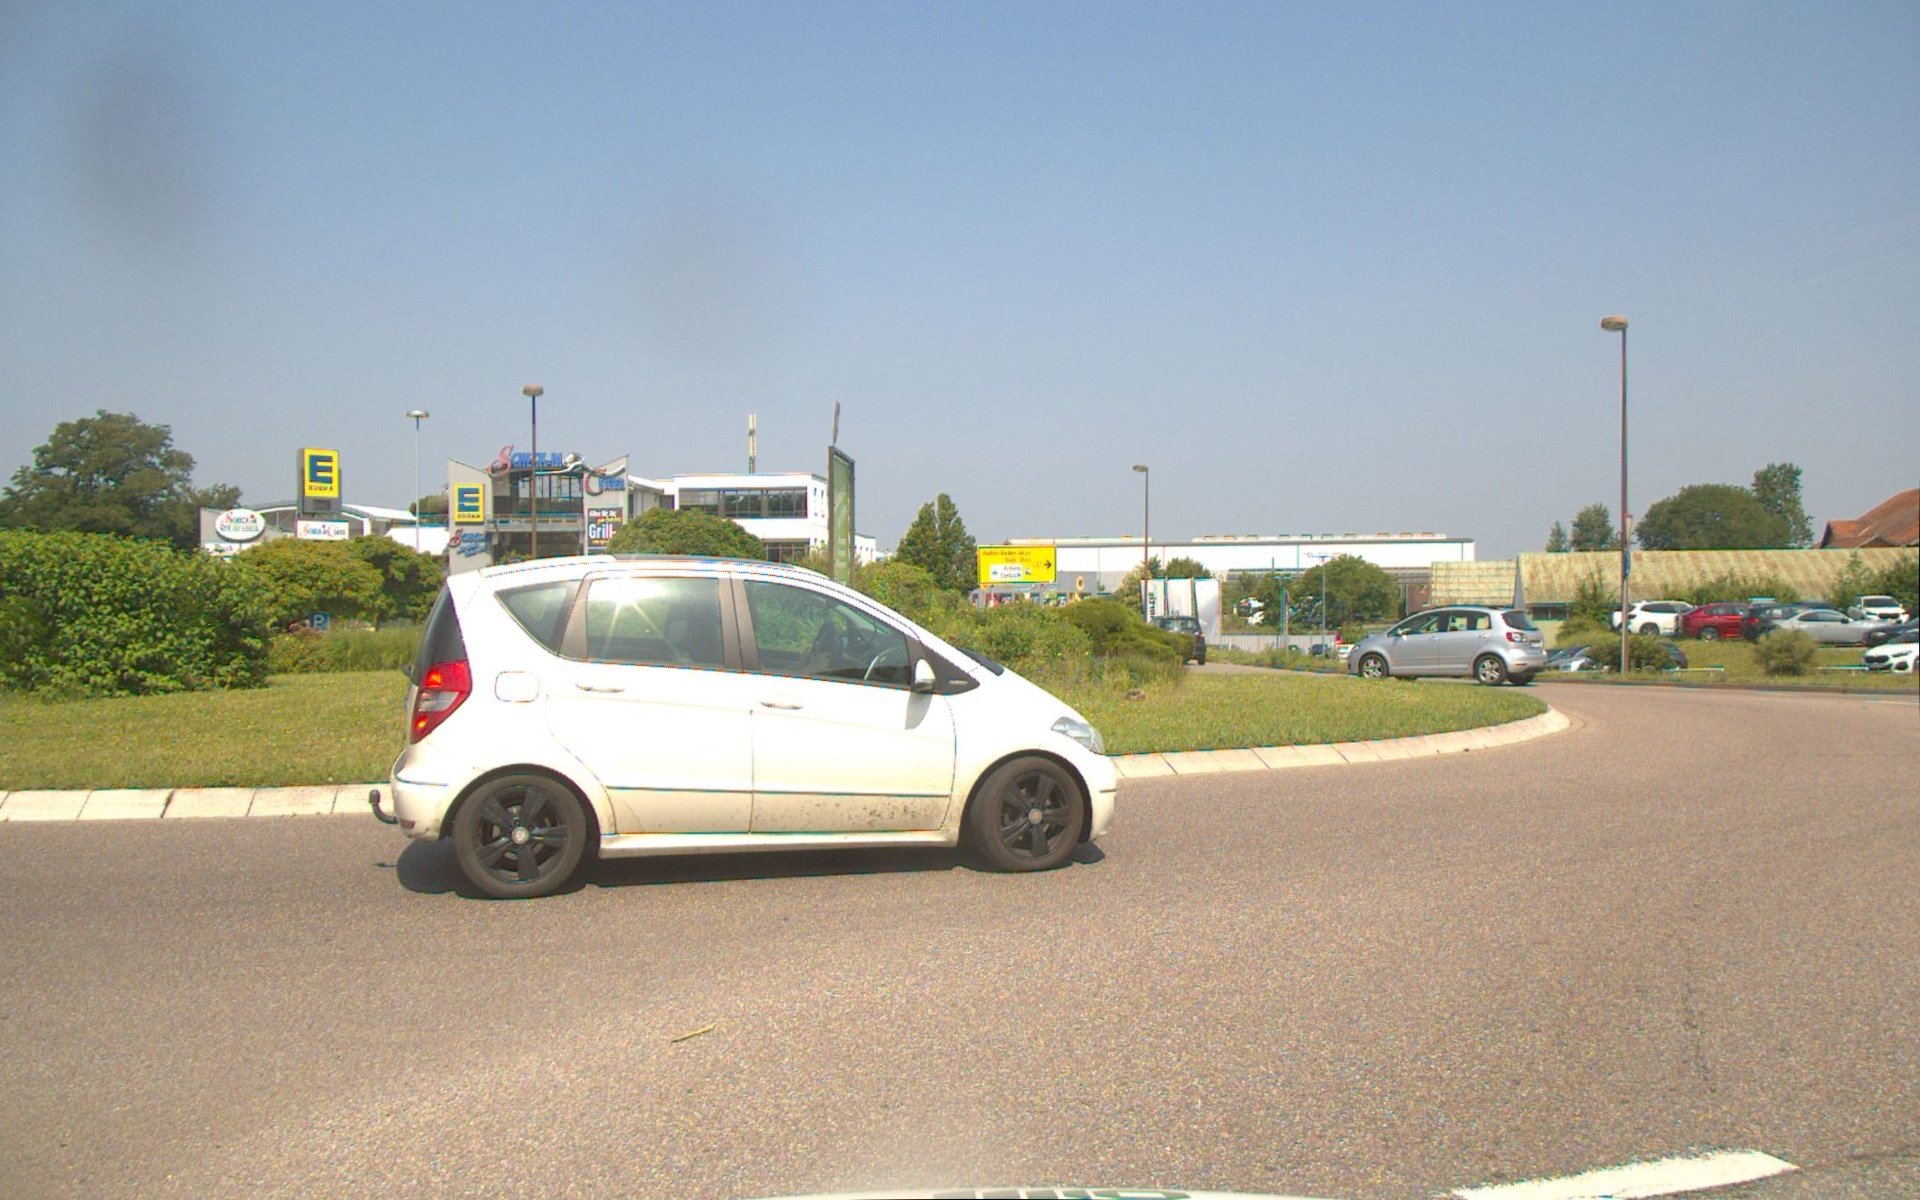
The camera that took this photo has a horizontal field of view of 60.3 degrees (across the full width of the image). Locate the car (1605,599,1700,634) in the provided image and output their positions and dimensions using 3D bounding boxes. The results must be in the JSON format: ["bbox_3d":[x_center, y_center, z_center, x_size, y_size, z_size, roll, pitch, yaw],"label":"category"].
[{"bbox_3d":[31.819,0.755,76.107,3.792,1.559,1.769,-1,-1,14],"label":"car"}]

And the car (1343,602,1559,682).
[{"bbox_3d":[10.179,0.852,34.333,3.996,1.557,1.781,0,-2,30],"label":"car"}]

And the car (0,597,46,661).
[{"bbox_3d":[-31.406,0.922,52.967,1.652,2.049,4.002,1,-1,7],"label":"car"}]

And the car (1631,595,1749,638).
[{"bbox_3d":[31.332,0.721,71.146,4.358,1.778,1.840,-1,-1,14],"label":"car"}]

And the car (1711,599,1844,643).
[{"bbox_3d":[32.297,0.832,65.466,4.358,1.663,1.951,-1,-1,14],"label":"car"}]

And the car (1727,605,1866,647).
[{"bbox_3d":[31.812,0.982,63.017,4.358,1.526,1.951,-1,-1,14],"label":"car"}]

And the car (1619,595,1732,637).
[{"bbox_3d":[31.786,0.735,73.599,4.358,1.778,1.840,-1,-1,14],"label":"car"}]

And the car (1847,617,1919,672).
[{"bbox_3d":[29.614,1.314,50.609,4.495,1.598,1.758,-1,-2,-20],"label":"car"}]

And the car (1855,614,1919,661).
[{"bbox_3d":[32.930,1.258,56.443,3.913,1.553,1.950,-1,-1,20],"label":"car"}]

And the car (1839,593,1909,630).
[{"bbox_3d":[42.188,0.546,76.416,1.876,1.624,4.306,-1,-1,16],"label":"car"}]

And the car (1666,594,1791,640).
[{"bbox_3d":[31.731,0.715,68.443,4.358,1.778,1.951,-1,-1,14],"label":"car"}]

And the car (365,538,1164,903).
[{"bbox_3d":[-1.029,0.527,8.745,3.815,1.631,1.780,0,1,-15],"label":"car"}]

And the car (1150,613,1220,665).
[{"bbox_3d":[7.133,1.245,52.777,1.742,1.557,4.000,1,-1,1],"label":"car"}]
